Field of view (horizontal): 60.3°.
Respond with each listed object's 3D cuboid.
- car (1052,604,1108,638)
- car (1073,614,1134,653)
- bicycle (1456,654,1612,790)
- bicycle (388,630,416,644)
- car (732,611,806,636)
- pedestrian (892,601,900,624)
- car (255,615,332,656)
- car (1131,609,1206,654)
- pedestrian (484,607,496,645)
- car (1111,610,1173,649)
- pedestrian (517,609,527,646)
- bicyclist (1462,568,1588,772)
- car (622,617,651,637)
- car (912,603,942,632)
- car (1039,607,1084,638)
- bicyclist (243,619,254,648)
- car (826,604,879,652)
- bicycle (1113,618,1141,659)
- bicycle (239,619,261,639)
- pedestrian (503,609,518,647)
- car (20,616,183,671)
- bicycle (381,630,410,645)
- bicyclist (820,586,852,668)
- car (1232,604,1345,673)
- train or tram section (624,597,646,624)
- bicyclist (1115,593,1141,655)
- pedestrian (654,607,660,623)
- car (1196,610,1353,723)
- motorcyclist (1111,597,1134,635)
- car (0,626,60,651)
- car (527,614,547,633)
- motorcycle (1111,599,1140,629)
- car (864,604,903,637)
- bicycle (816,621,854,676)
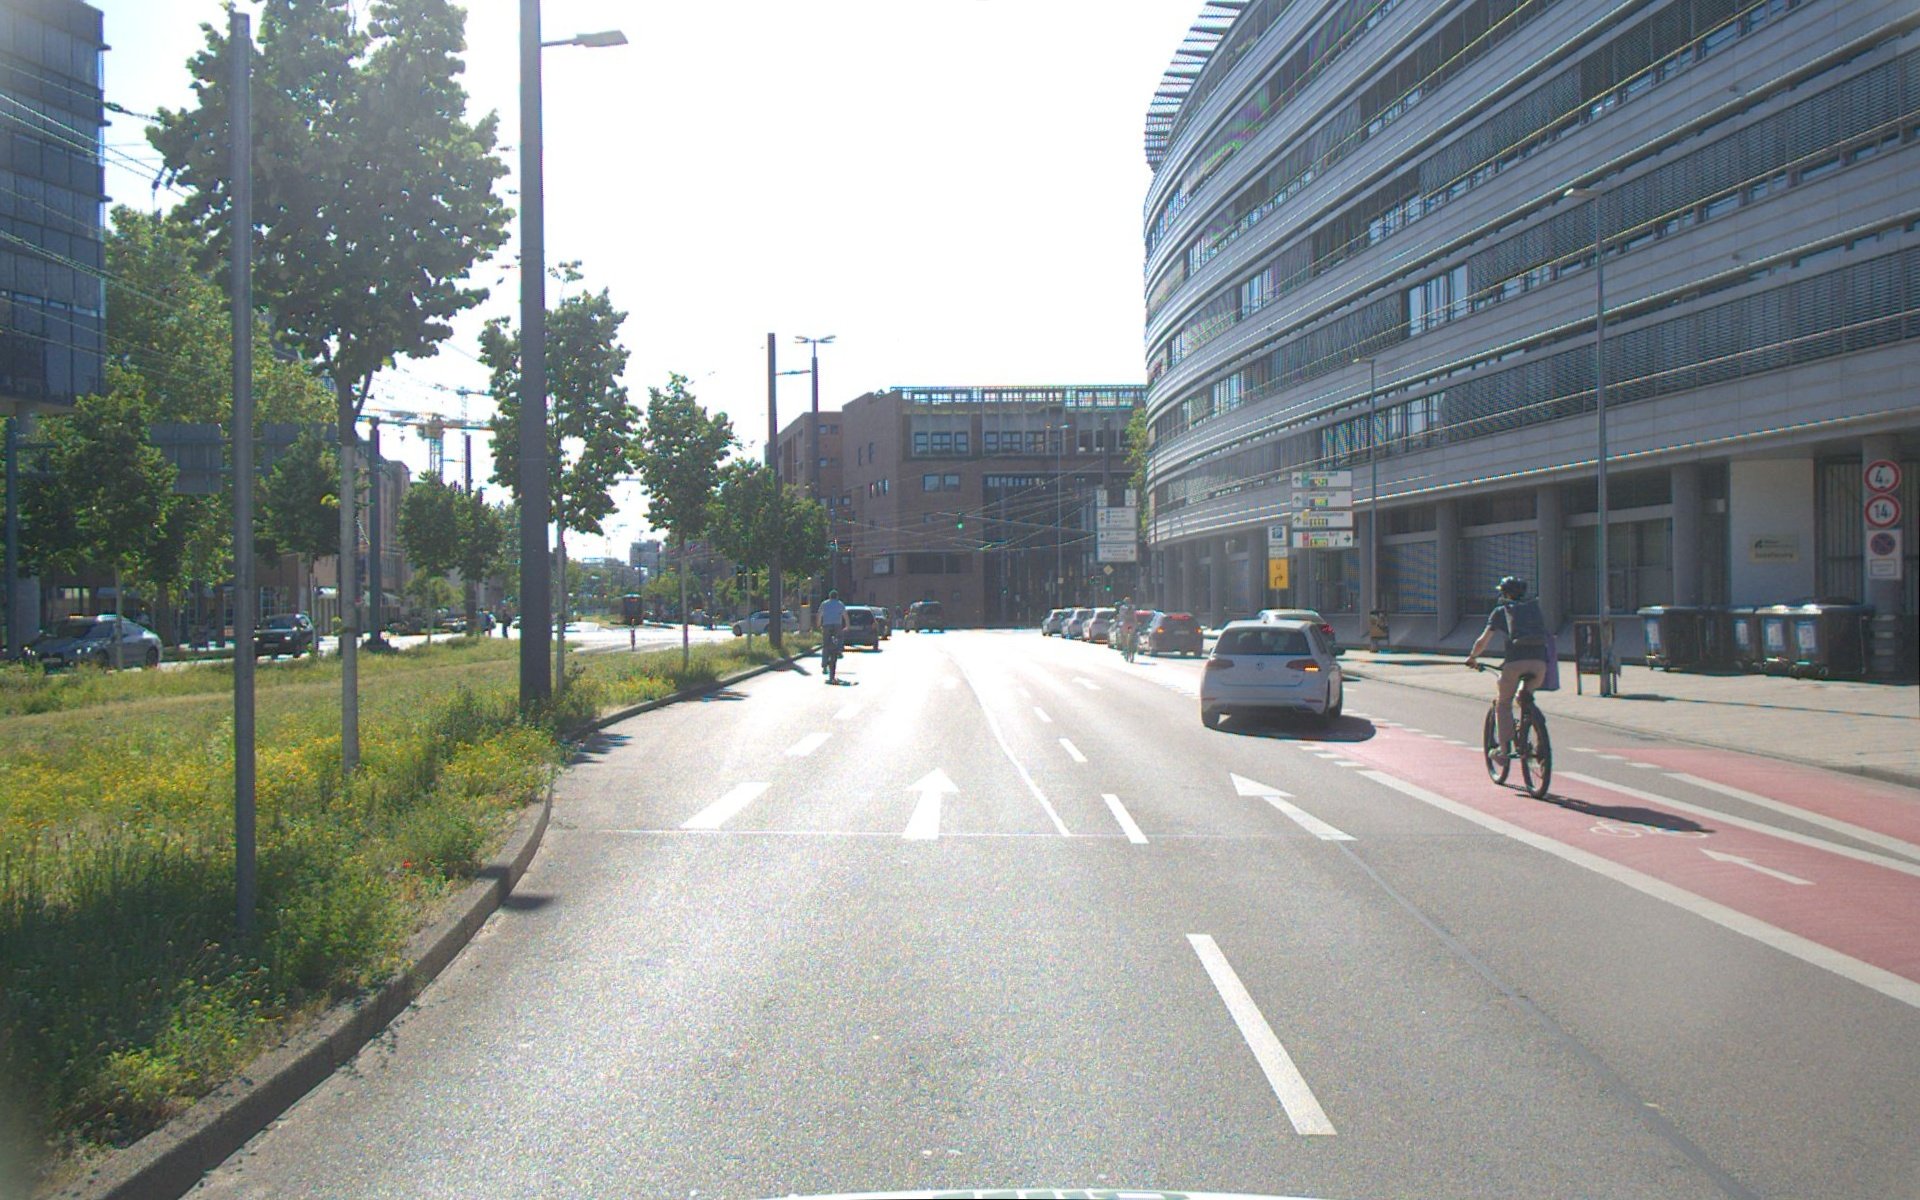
[{"bbox_3d":[5.827,0.991,80.751,1.870,1.568,4.131,1,0,-8],"label":"car"},{"bbox_3d":[6.374,1.486,74.043,1.870,1.611,4.131,1,0,-8],"label":"car"},{"bbox_3d":[5.033,1.038,14.630,0.808,1.055,1.892,1,0,3],"label":"bicycle"},{"bbox_3d":[-53.908,3.579,159.861,2.436,1.333,0.733,-1,-1,-5],"label":"bicycle"},{"bbox_3d":[-11.670,1.449,101.163,4.327,1.405,2.058,-1,-1,38],"label":"car"},{"bbox_3d":[-4.650,0.921,119.794,0.471,1.685,0.489,-1,-1,-19],"label":"pedestrian"},{"bbox_3d":[-23.856,1.245,59.310,1.399,1.383,3.295,-1,0,0],"label":"car"},{"bbox_3d":[7.028,1.022,56.071,1.687,1.447,4.634,0,0,-3],"label":"car"},{"bbox_3d":[-23.419,1.287,82.416,0.457,1.863,0.452,0,-1,-41],"label":"pedestrian"},{"bbox_3d":[6.964,1.093,63.628,1.687,1.420,4.786,0,0,-2],"label":"car"},{"bbox_3d":[-22.732,1.424,85.820,0.382,1.863,0.458,0,-1,-34],"label":"pedestrian"},{"bbox_3d":[4.962,0.598,14.586,0.789,1.722,1.052,1,0,3],"label":"bicyclist"},{"bbox_3d":[-30.269,2.538,154.829,2.227,1.757,3.924,-1,0,-18],"label":"car"},{"bbox_3d":[-2.059,1.045,101.325,1.746,1.732,4.136,1,0,-2],"label":"car"},{"bbox_3d":[5.546,1.197,91.012,1.869,1.611,4.134,1,0,-5],"label":"car"},{"bbox_3d":[-34.235,1.606,79.542,0.333,1.401,0.481,-1,-2,-4],"label":"bicyclist"},{"bbox_3d":[-3.741,0.960,58.191,1.691,1.591,3.676,-1,0,-2],"label":"car"},{"bbox_3d":[4.924,1.124,48.884,0.636,1.129,1.758,-1,1,0],"label":"bicycle"},{"bbox_3d":[-34.249,1.400,79.788,0.346,0.942,1.893,-1,-2,-3],"label":"bicycle"},{"bbox_3d":[-22.713,1.411,83.620,0.577,1.863,0.490,0,-1,-41],"label":"pedestrian"},{"bbox_3d":[-23.464,1.159,45.429,1.953,1.357,4.790,-1,0,0],"label":"car"},{"bbox_3d":[-53.651,3.559,157.142,2.436,1.333,0.733,-1,-1,-5],"label":"bicycle"},{"bbox_3d":[-2.617,0.565,34.846,0.605,1.699,1.019,1,0,-2],"label":"bicyclist"},{"bbox_3d":[7.798,0.882,39.627,1.687,1.551,4.397,0,0,-2],"label":"car"},{"bbox_3d":[-37.724,1.214,191.680,2.285,3.056,13.120,-1,0,-12],"label":"train or tram section"},{"bbox_3d":[4.916,0.698,48.545,0.636,1.783,1.045,-1,0,0],"label":"bicyclist"},{"bbox_3d":[-30.895,1.524,168.792,0.530,1.684,0.703,-1,-1,-17],"label":"pedestrian"},{"bbox_3d":[4.606,0.887,23.776,1.735,1.428,4.296,1,0,17],"label":"car"},{"bbox_3d":[6.754,0.667,68.573,0.812,1.588,0.941,0,-1,-3],"label":"motorcyclist"},{"bbox_3d":[-50.429,2.069,88.032,3.908,1.253,1.998,-1,0,-4],"label":"car"},{"bbox_3d":[-37.096,2.044,145.040,1.583,1.422,3.904,-5,1,-14],"label":"car"},{"bbox_3d":[6.817,0.585,68.264,0.812,1.222,2.389,0,-1,-3],"label":"motorcycle"},{"bbox_3d":[-3.626,0.936,77.693,1.692,1.474,4.517,-1,0,-4],"label":"car"},{"bbox_3d":[-2.623,1.003,34.979,0.673,1.088,2.696,1,0,-2],"label":"bicycle"}]
